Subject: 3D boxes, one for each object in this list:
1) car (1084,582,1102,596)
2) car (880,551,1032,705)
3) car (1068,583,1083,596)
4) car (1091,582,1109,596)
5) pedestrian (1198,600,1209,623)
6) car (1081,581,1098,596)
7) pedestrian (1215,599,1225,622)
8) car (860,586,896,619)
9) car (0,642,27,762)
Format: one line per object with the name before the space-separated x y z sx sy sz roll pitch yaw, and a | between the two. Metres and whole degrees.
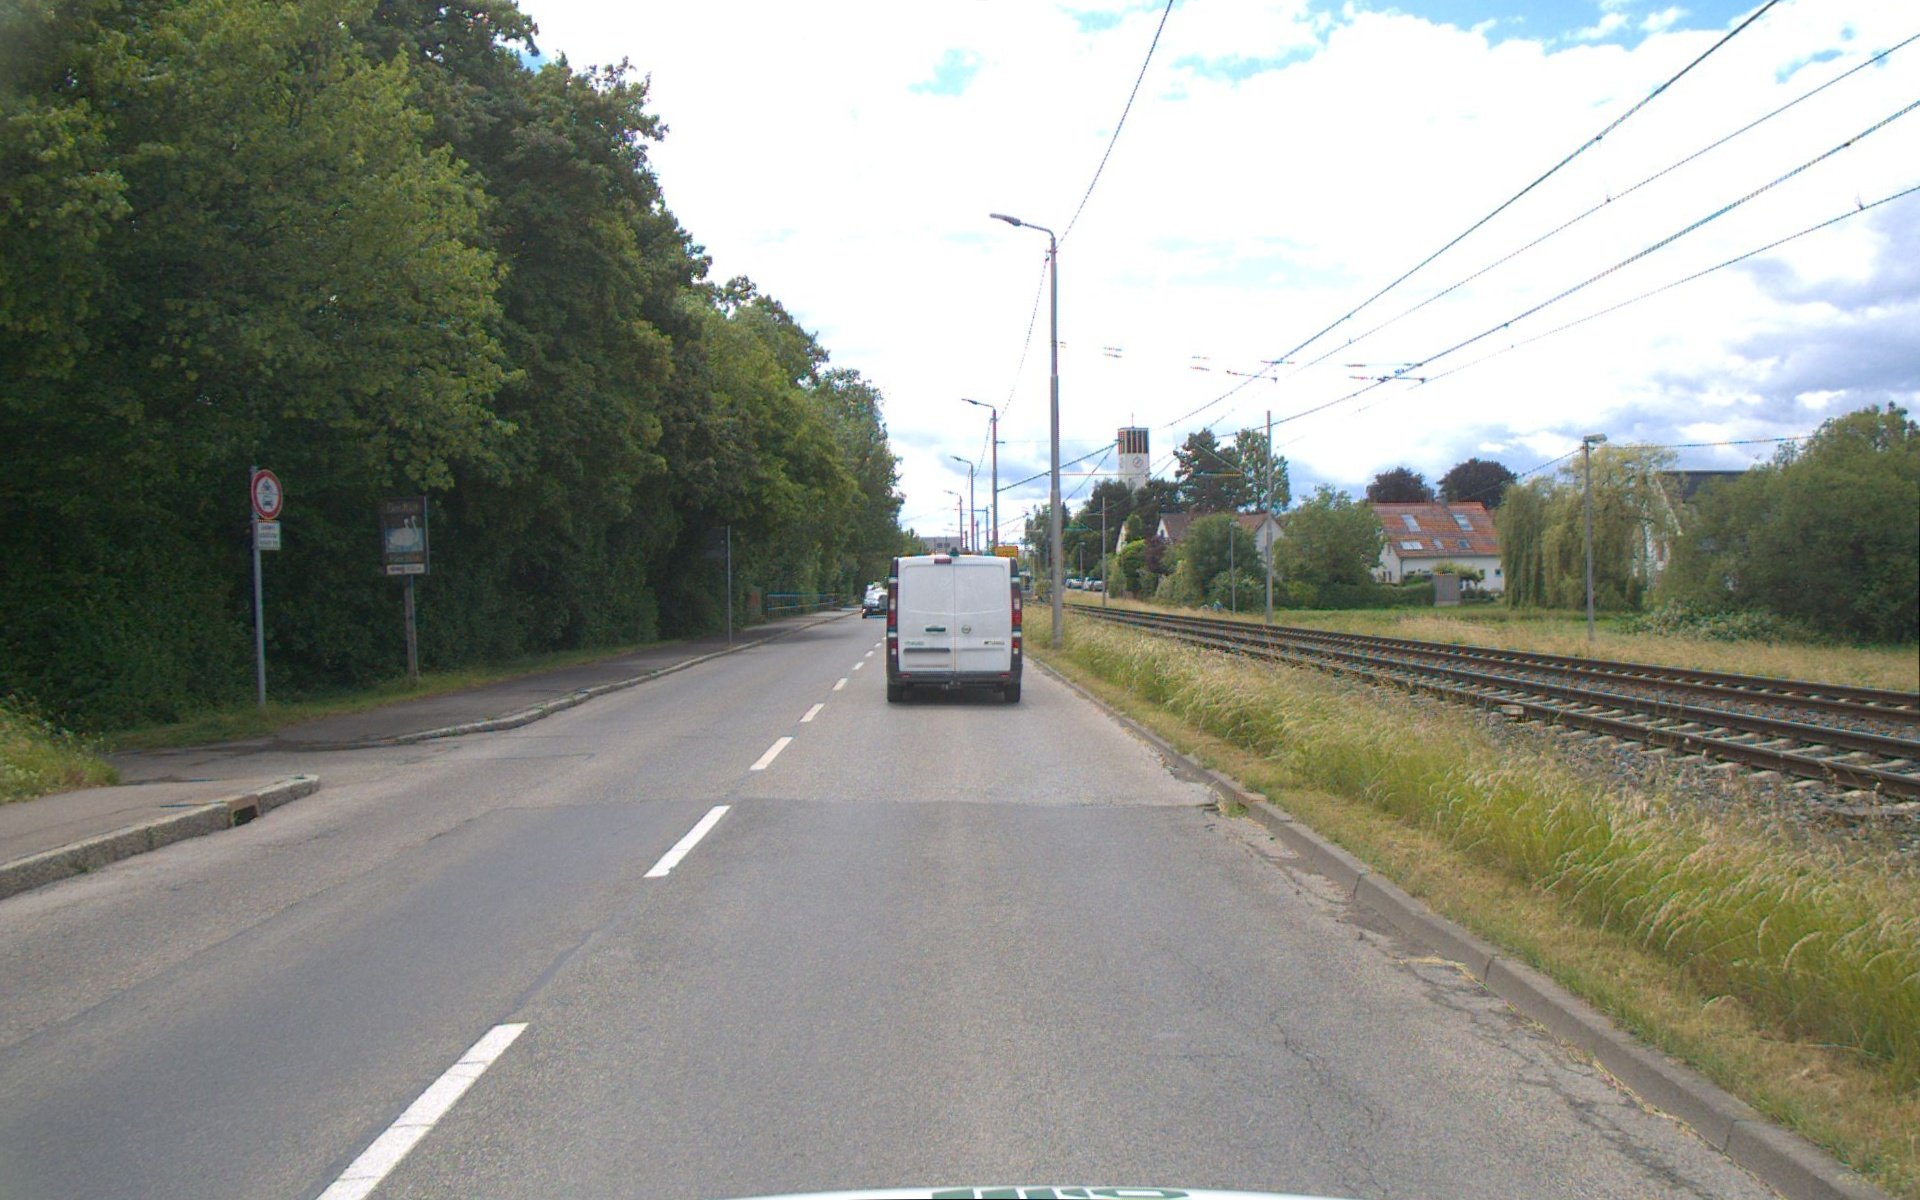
car | 18.472 -1.514 230.216 1.953 1.848 3.998 1 -1 -2
car | -0.120 0.325 23.343 1.953 1.991 3.999 0 1 -2
car | 17.872 -1.680 256.716 1.953 1.848 3.998 1 -1 -2
car | 18.914 -1.543 224.188 1.953 1.747 3.998 1 -1 -2
pedestrian | 16.039 0.743 108.950 0.643 1.532 0.656 -1 0 -2
car | 18.383 -1.588 234.561 1.953 2.049 3.998 1 -1 -2
pedestrian | 17.073 0.692 108.695 0.515 1.532 0.656 -1 0 -2
car | -4.486 0.112 90.815 1.953 1.747 4.122 -1 0 -3
car | -12.687 1.245 18.098 3.905 1.321 1.745 -3 0 1
